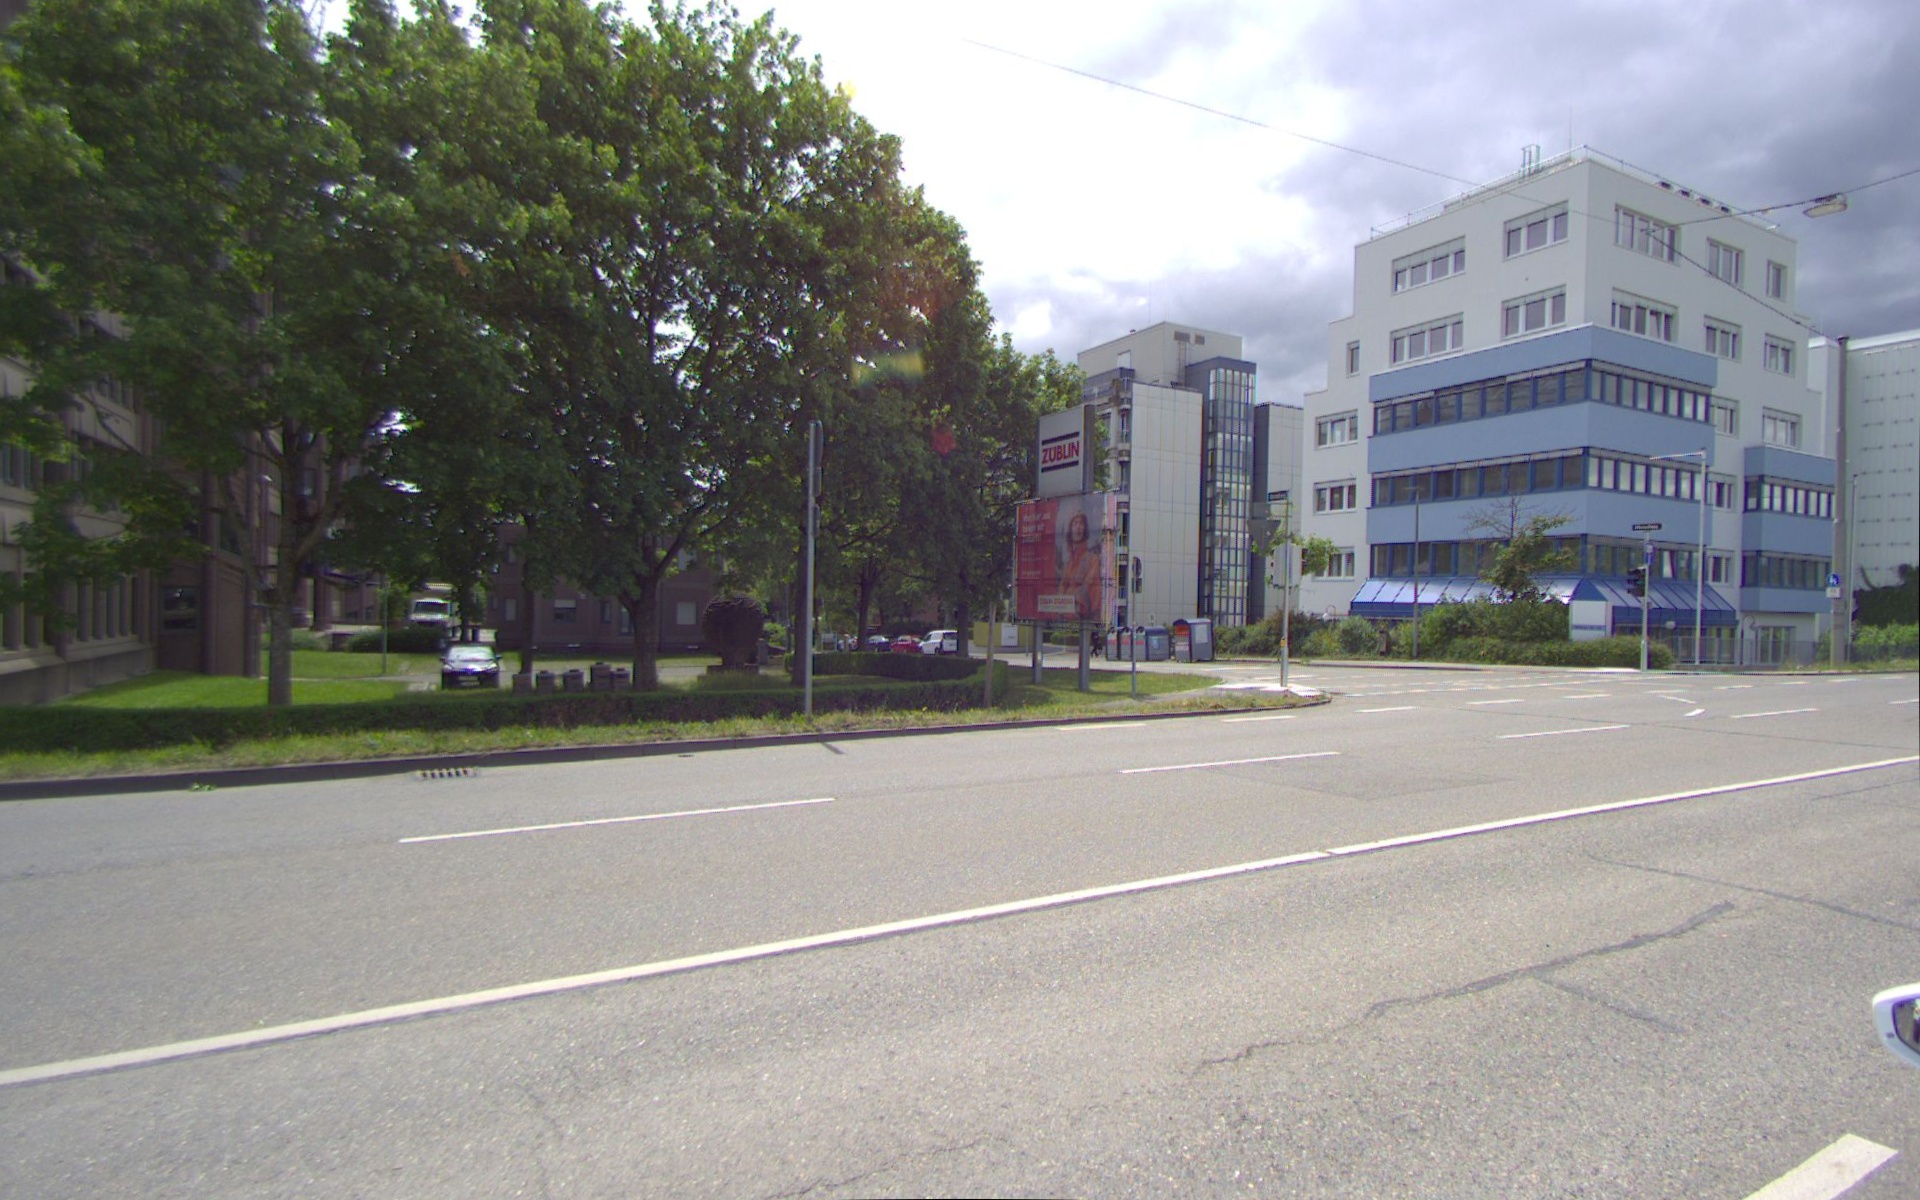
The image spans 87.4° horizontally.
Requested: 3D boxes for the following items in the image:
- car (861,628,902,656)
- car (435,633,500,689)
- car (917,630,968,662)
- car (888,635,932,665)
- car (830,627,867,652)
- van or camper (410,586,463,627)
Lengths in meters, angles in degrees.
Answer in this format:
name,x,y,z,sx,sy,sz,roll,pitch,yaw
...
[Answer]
name,x,y,z,sx,sy,sz,roll,pitch,yaw
car,-6.180,3.305,78.904,1.848,2.040,3.973,2,-1,-27
car,-16.403,2.028,33.597,1.762,1.750,3.978,1,-3,-24
car,-1.237,3.139,69.427,1.974,2.006,3.974,2,-1,-26
car,-3.747,3.651,74.510,1.868,2.040,3.974,2,-1,-26
car,-9.420,3.335,84.579,1.875,1.919,3.973,2,-1,-27
van or camper,-29.610,0.342,56.742,2.332,2.132,5.161,2,-1,-31
